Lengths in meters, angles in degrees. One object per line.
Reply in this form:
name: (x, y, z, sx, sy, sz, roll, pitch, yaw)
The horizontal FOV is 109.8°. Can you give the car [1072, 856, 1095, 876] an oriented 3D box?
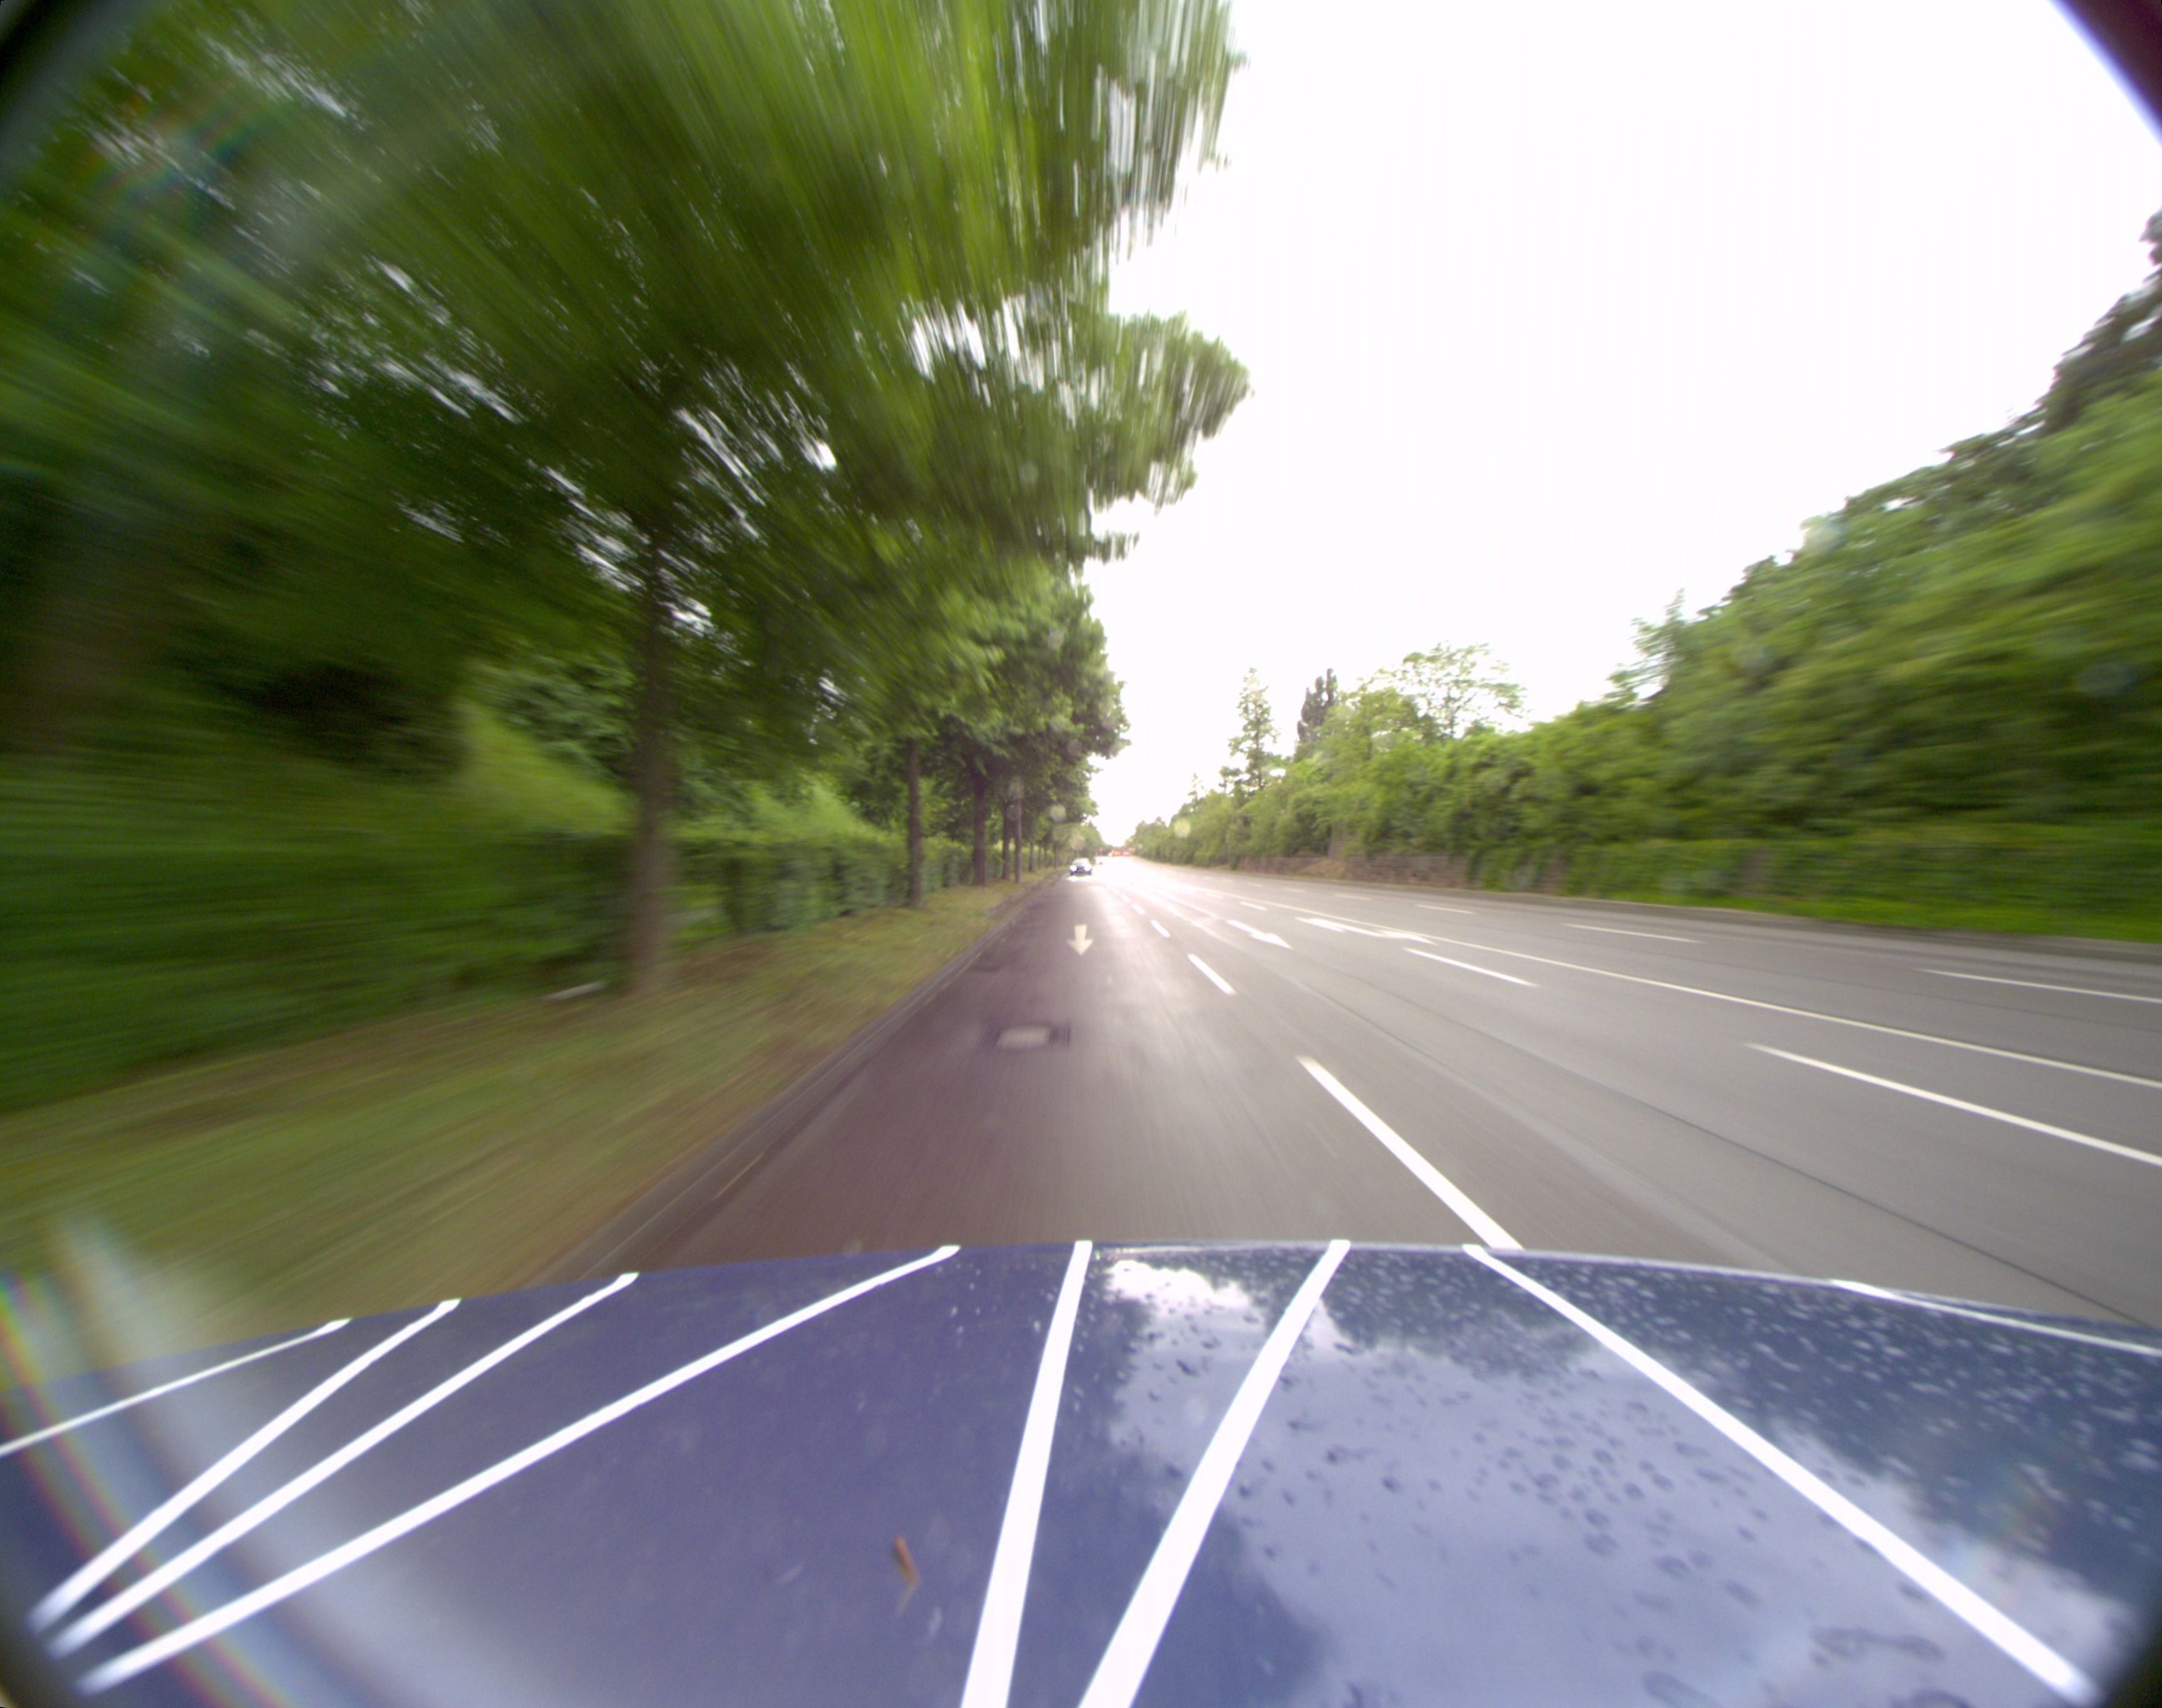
car: (0.229, 0.999, 64.497, 1.824, 1.547, 3.999, -2, 1, 1)
